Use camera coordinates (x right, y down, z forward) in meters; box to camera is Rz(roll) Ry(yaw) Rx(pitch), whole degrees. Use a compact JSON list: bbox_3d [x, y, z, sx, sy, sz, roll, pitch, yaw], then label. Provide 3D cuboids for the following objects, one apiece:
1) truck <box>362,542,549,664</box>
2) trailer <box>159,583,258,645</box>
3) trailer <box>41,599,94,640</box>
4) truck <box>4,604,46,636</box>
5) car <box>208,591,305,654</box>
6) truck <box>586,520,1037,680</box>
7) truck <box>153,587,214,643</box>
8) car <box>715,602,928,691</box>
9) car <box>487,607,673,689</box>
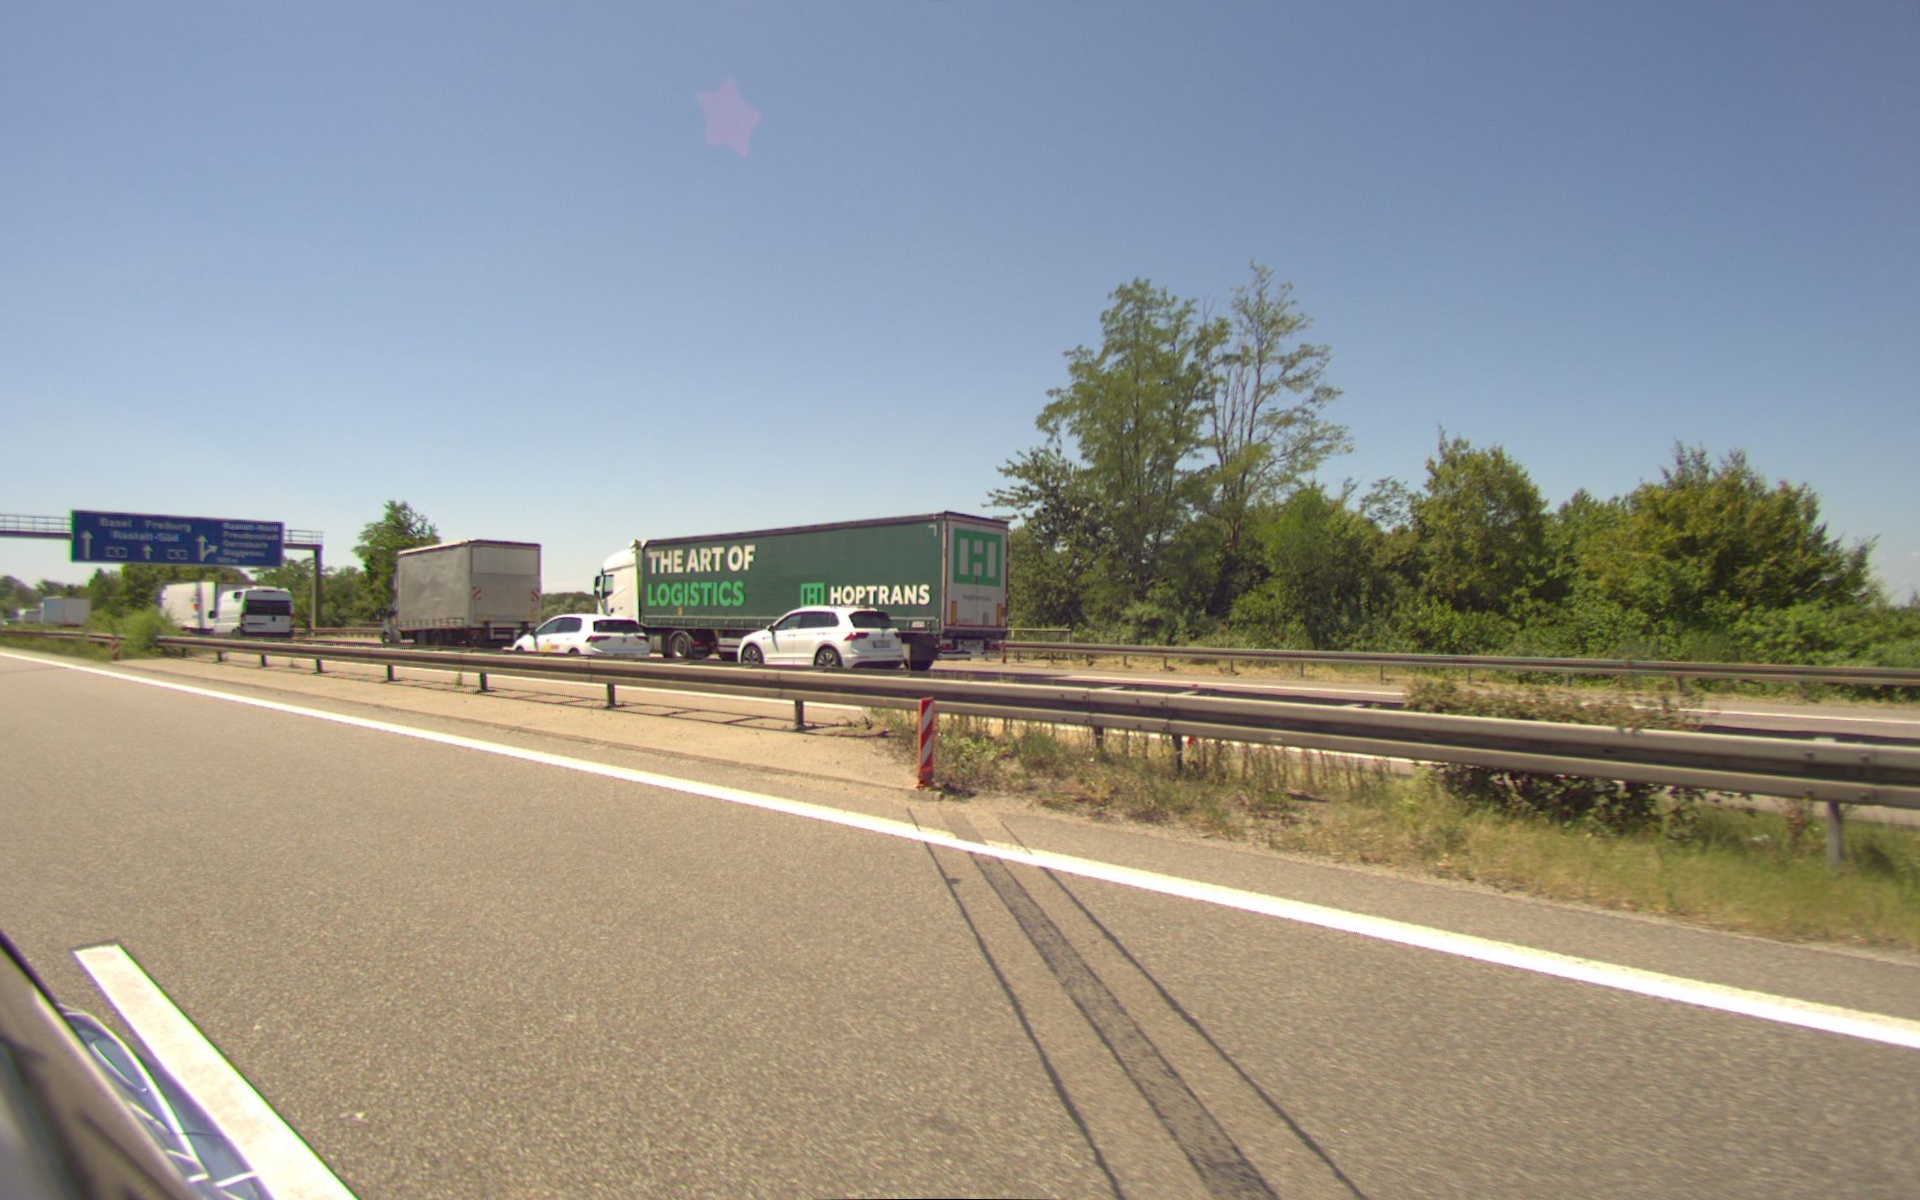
[{"bbox_3d":[-18.691,0.072,37.102,9.493,3.948,2.826,0,1,42],"label":"truck"},{"bbox_3d":[-55.881,1.044,75.007,13.937,4.238,2.716,-1,0,40],"label":"trailer"},{"bbox_3d":[-102.310,2.217,115.894,13.940,4.339,2.715,-1,0,41],"label":"trailer"},{"bbox_3d":[-126.154,2.688,136.487,8.602,4.165,3.202,-1,0,41],"label":"truck"},{"bbox_3d":[-31.154,0.984,44.743,6.035,2.604,2.147,-1,-1,41],"label":"car"},{"bbox_3d":[-5.496,0.097,30.928,17.000,3.831,3.211,-1,0,40],"label":"truck"},{"bbox_3d":[-60.771,1.142,79.159,5.292,4.238,2.715,-1,0,40],"label":"truck"},{"bbox_3d":[-3.309,1.028,23.450,5.105,1.845,2.053,-1,-2,41],"label":"car"},{"bbox_3d":[-9.327,1.112,24.624,5.105,1.805,2.053,-1,-2,41],"label":"car"}]
